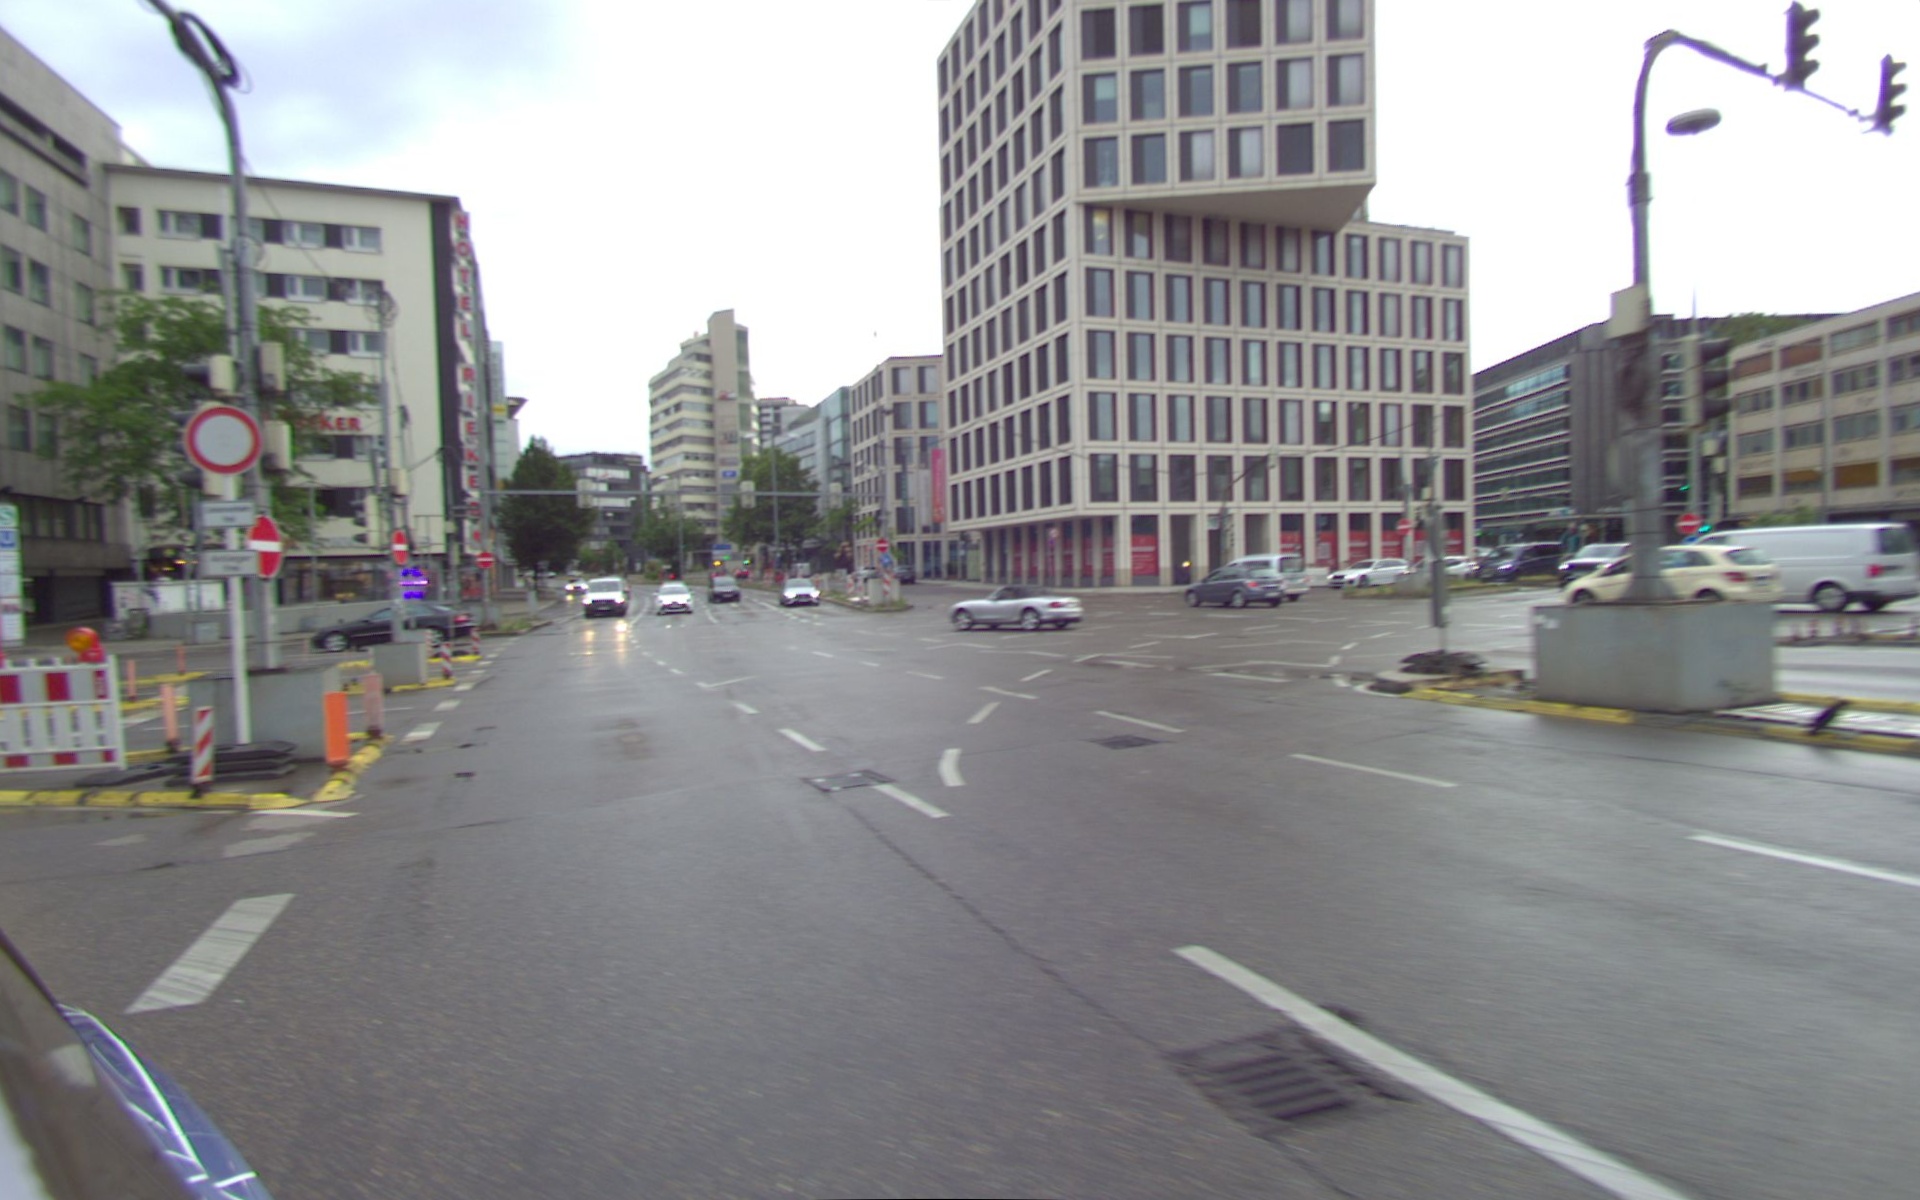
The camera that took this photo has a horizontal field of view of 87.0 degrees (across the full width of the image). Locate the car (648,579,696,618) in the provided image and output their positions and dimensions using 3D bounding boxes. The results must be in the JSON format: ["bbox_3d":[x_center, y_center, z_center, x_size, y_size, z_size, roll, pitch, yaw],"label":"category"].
[{"bbox_3d":[-14.604,-0.097,51.132,1.984,1.751,4.678,-3,2,-19],"label":"car"}]

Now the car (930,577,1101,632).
[{"bbox_3d":[1.442,0.153,27.469,4.525,1.319,1.622,-2,2,39],"label":"car"}]

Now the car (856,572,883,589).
[{"bbox_3d":[-9.024,-1.936,100.286,1.836,1.534,4.012,-3,1,-17],"label":"car"}]

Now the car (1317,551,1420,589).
[{"bbox_3d":[21.162,-1.554,52.439,4.729,1.766,2.237,-3,1,-24],"label":"car"}]

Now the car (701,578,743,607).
[{"bbox_3d":[-14.698,-0.455,62.369,1.984,1.610,4.678,-3,2,-19],"label":"car"}]

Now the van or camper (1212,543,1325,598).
[{"bbox_3d":[12.124,-1.126,40.099,1.819,1.993,4.270,-3,2,-25],"label":"van or camper"}]

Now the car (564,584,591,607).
[{"bbox_3d":[-35.033,-0.415,92.674,1.892,2.028,4.012,-3,1,-16],"label":"car"}]

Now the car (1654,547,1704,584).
[{"bbox_3d":[32.631,-1.571,45.893,1.693,1.569,3.951,-2,1,37],"label":"car"}]

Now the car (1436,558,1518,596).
[{"bbox_3d":[23.189,-1.045,45.333,3.938,1.569,1.893,-3,1,-40],"label":"car"}]

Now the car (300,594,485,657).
[{"bbox_3d":[-17.560,0.744,31.569,4.586,1.610,2.023,-3,2,-12],"label":"car"}]

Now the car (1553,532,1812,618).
[{"bbox_3d":[16.090,-0.534,22.811,1.816,1.686,4.395,-3,2,-24],"label":"car"}]

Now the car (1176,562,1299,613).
[{"bbox_3d":[9.709,-0.448,35.734,1.819,1.610,4.195,-3,2,-25],"label":"car"}]

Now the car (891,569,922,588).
[{"bbox_3d":[-4.734,-1.905,89.285,1.836,1.534,4.011,-3,1,-15],"label":"car"}]

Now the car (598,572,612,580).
[{"bbox_3d":[-76.534,-5.191,217.942,1.820,1.610,4.192,-4,2,-34],"label":"car"}]

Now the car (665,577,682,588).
[{"bbox_3d":[-42.872,-2.631,151.418,1.819,1.610,4.195,-3,2,-25],"label":"car"}]

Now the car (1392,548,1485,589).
[{"bbox_3d":[23.489,-1.546,49.707,3.932,1.829,1.811,-3,2,-18],"label":"car"}]

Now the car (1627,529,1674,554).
[{"bbox_3d":[61.062,-5.162,89.548,1.979,2.028,3.986,-2,1,11],"label":"car"}]

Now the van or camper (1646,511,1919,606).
[{"bbox_3d":[19.081,-0.899,23.275,1.855,1.908,5.230,-3,2,-25],"label":"van or camper"}]

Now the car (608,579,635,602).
[{"bbox_3d":[-24.229,-0.684,72.367,1.644,1.494,3.497,-3,1,-20],"label":"car"}]

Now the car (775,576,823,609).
[{"bbox_3d":[-8.581,-0.417,53.521,1.984,1.610,4.677,-3,2,-15],"label":"car"}]

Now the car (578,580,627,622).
[{"bbox_3d":[-17.976,0.015,51.081,2.052,1.918,5.101,-3,2,-17],"label":"car"}]

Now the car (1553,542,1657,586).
[{"bbox_3d":[24.966,-1.397,39.156,3.933,1.497,1.841,-4,2,-32],"label":"car"}]
